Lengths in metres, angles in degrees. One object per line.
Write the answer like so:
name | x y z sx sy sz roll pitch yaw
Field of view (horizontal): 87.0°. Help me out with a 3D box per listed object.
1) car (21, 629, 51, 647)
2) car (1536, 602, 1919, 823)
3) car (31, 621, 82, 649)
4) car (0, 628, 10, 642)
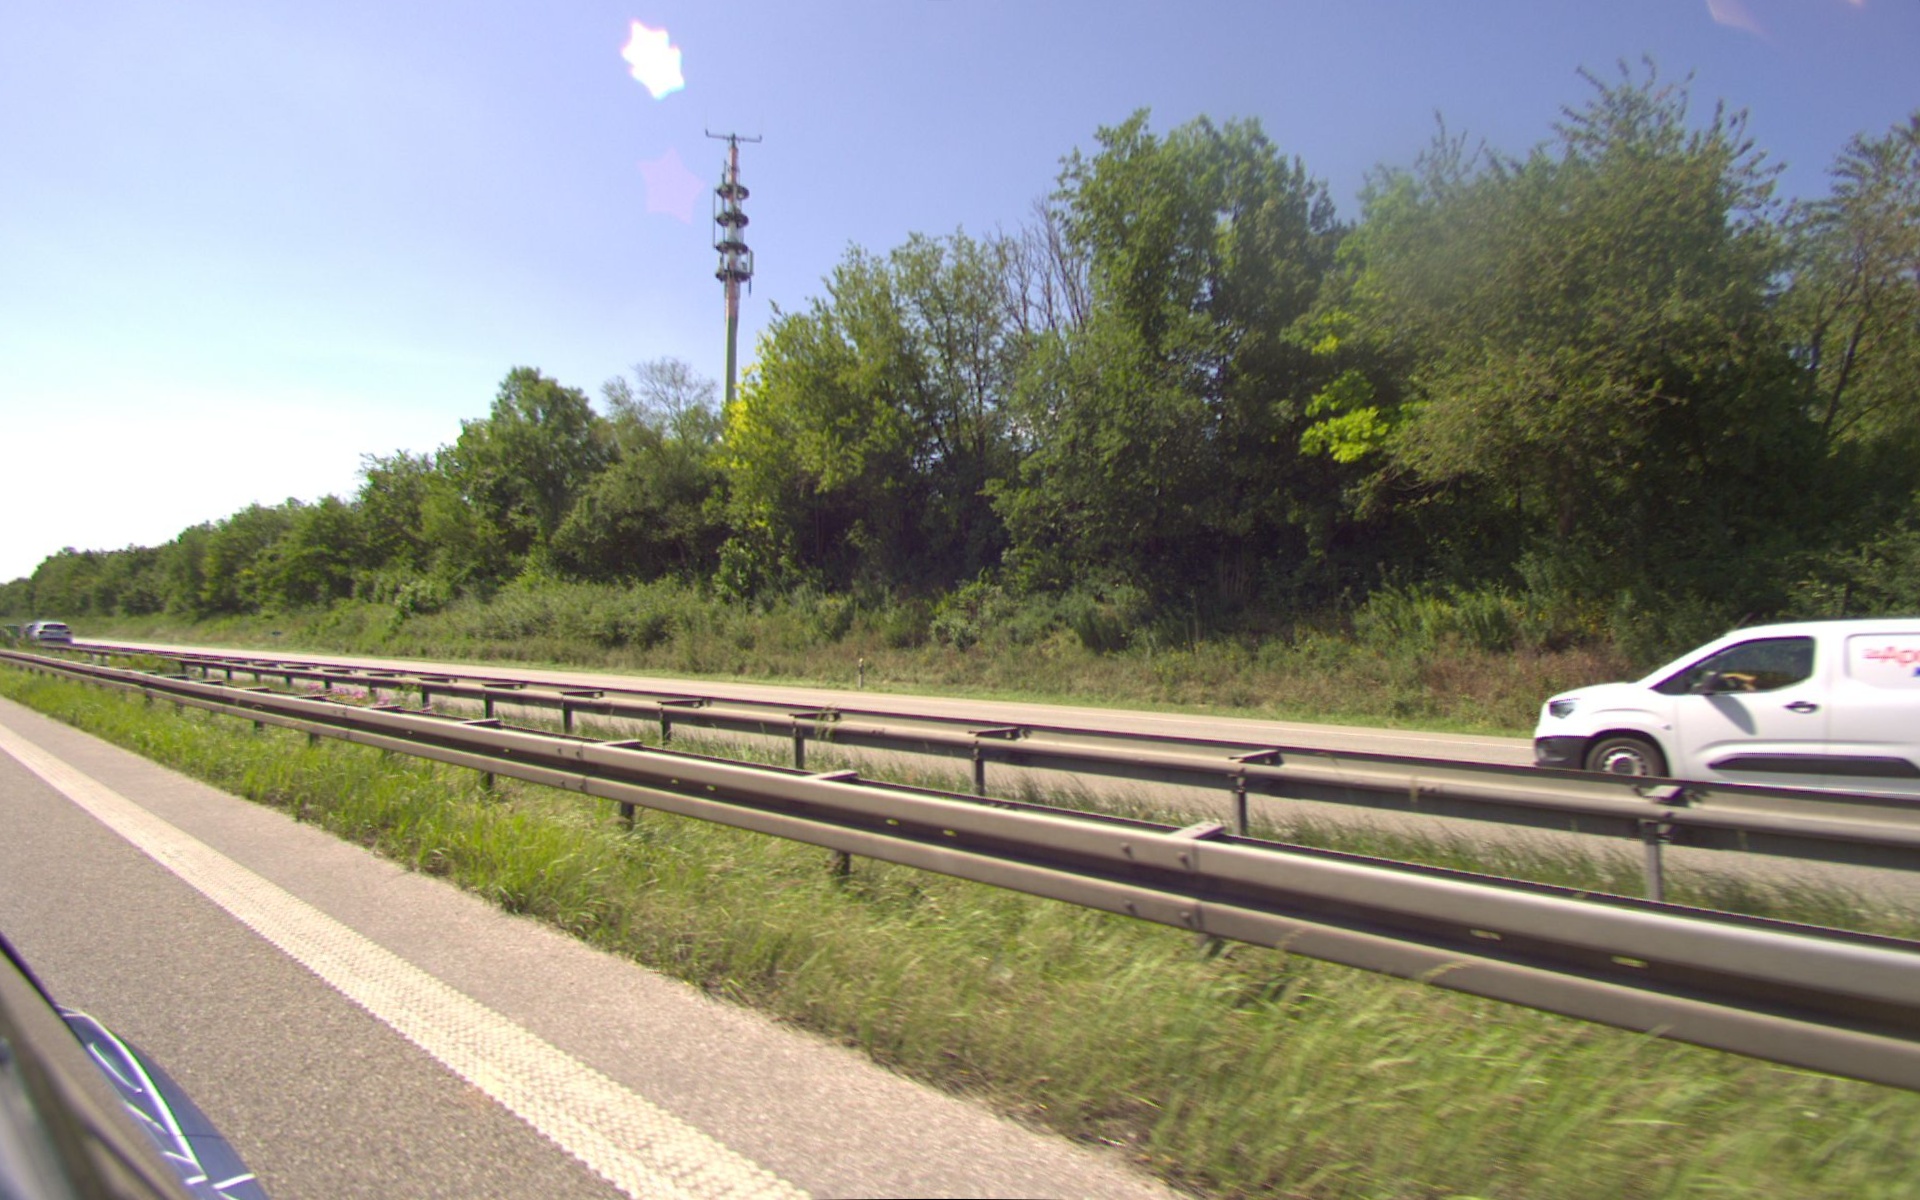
car | -87.739 3.584 96.085 3.913 1.629 1.639 -1 -4 42
car | 8.397 0.987 9.299 5.166 1.844 1.727 -1 -4 41
car | -56.170 2.186 62.890 3.912 1.629 1.793 -1 -4 41
car | -108.628 3.896 114.217 4.319 1.489 1.639 -1 -4 42
